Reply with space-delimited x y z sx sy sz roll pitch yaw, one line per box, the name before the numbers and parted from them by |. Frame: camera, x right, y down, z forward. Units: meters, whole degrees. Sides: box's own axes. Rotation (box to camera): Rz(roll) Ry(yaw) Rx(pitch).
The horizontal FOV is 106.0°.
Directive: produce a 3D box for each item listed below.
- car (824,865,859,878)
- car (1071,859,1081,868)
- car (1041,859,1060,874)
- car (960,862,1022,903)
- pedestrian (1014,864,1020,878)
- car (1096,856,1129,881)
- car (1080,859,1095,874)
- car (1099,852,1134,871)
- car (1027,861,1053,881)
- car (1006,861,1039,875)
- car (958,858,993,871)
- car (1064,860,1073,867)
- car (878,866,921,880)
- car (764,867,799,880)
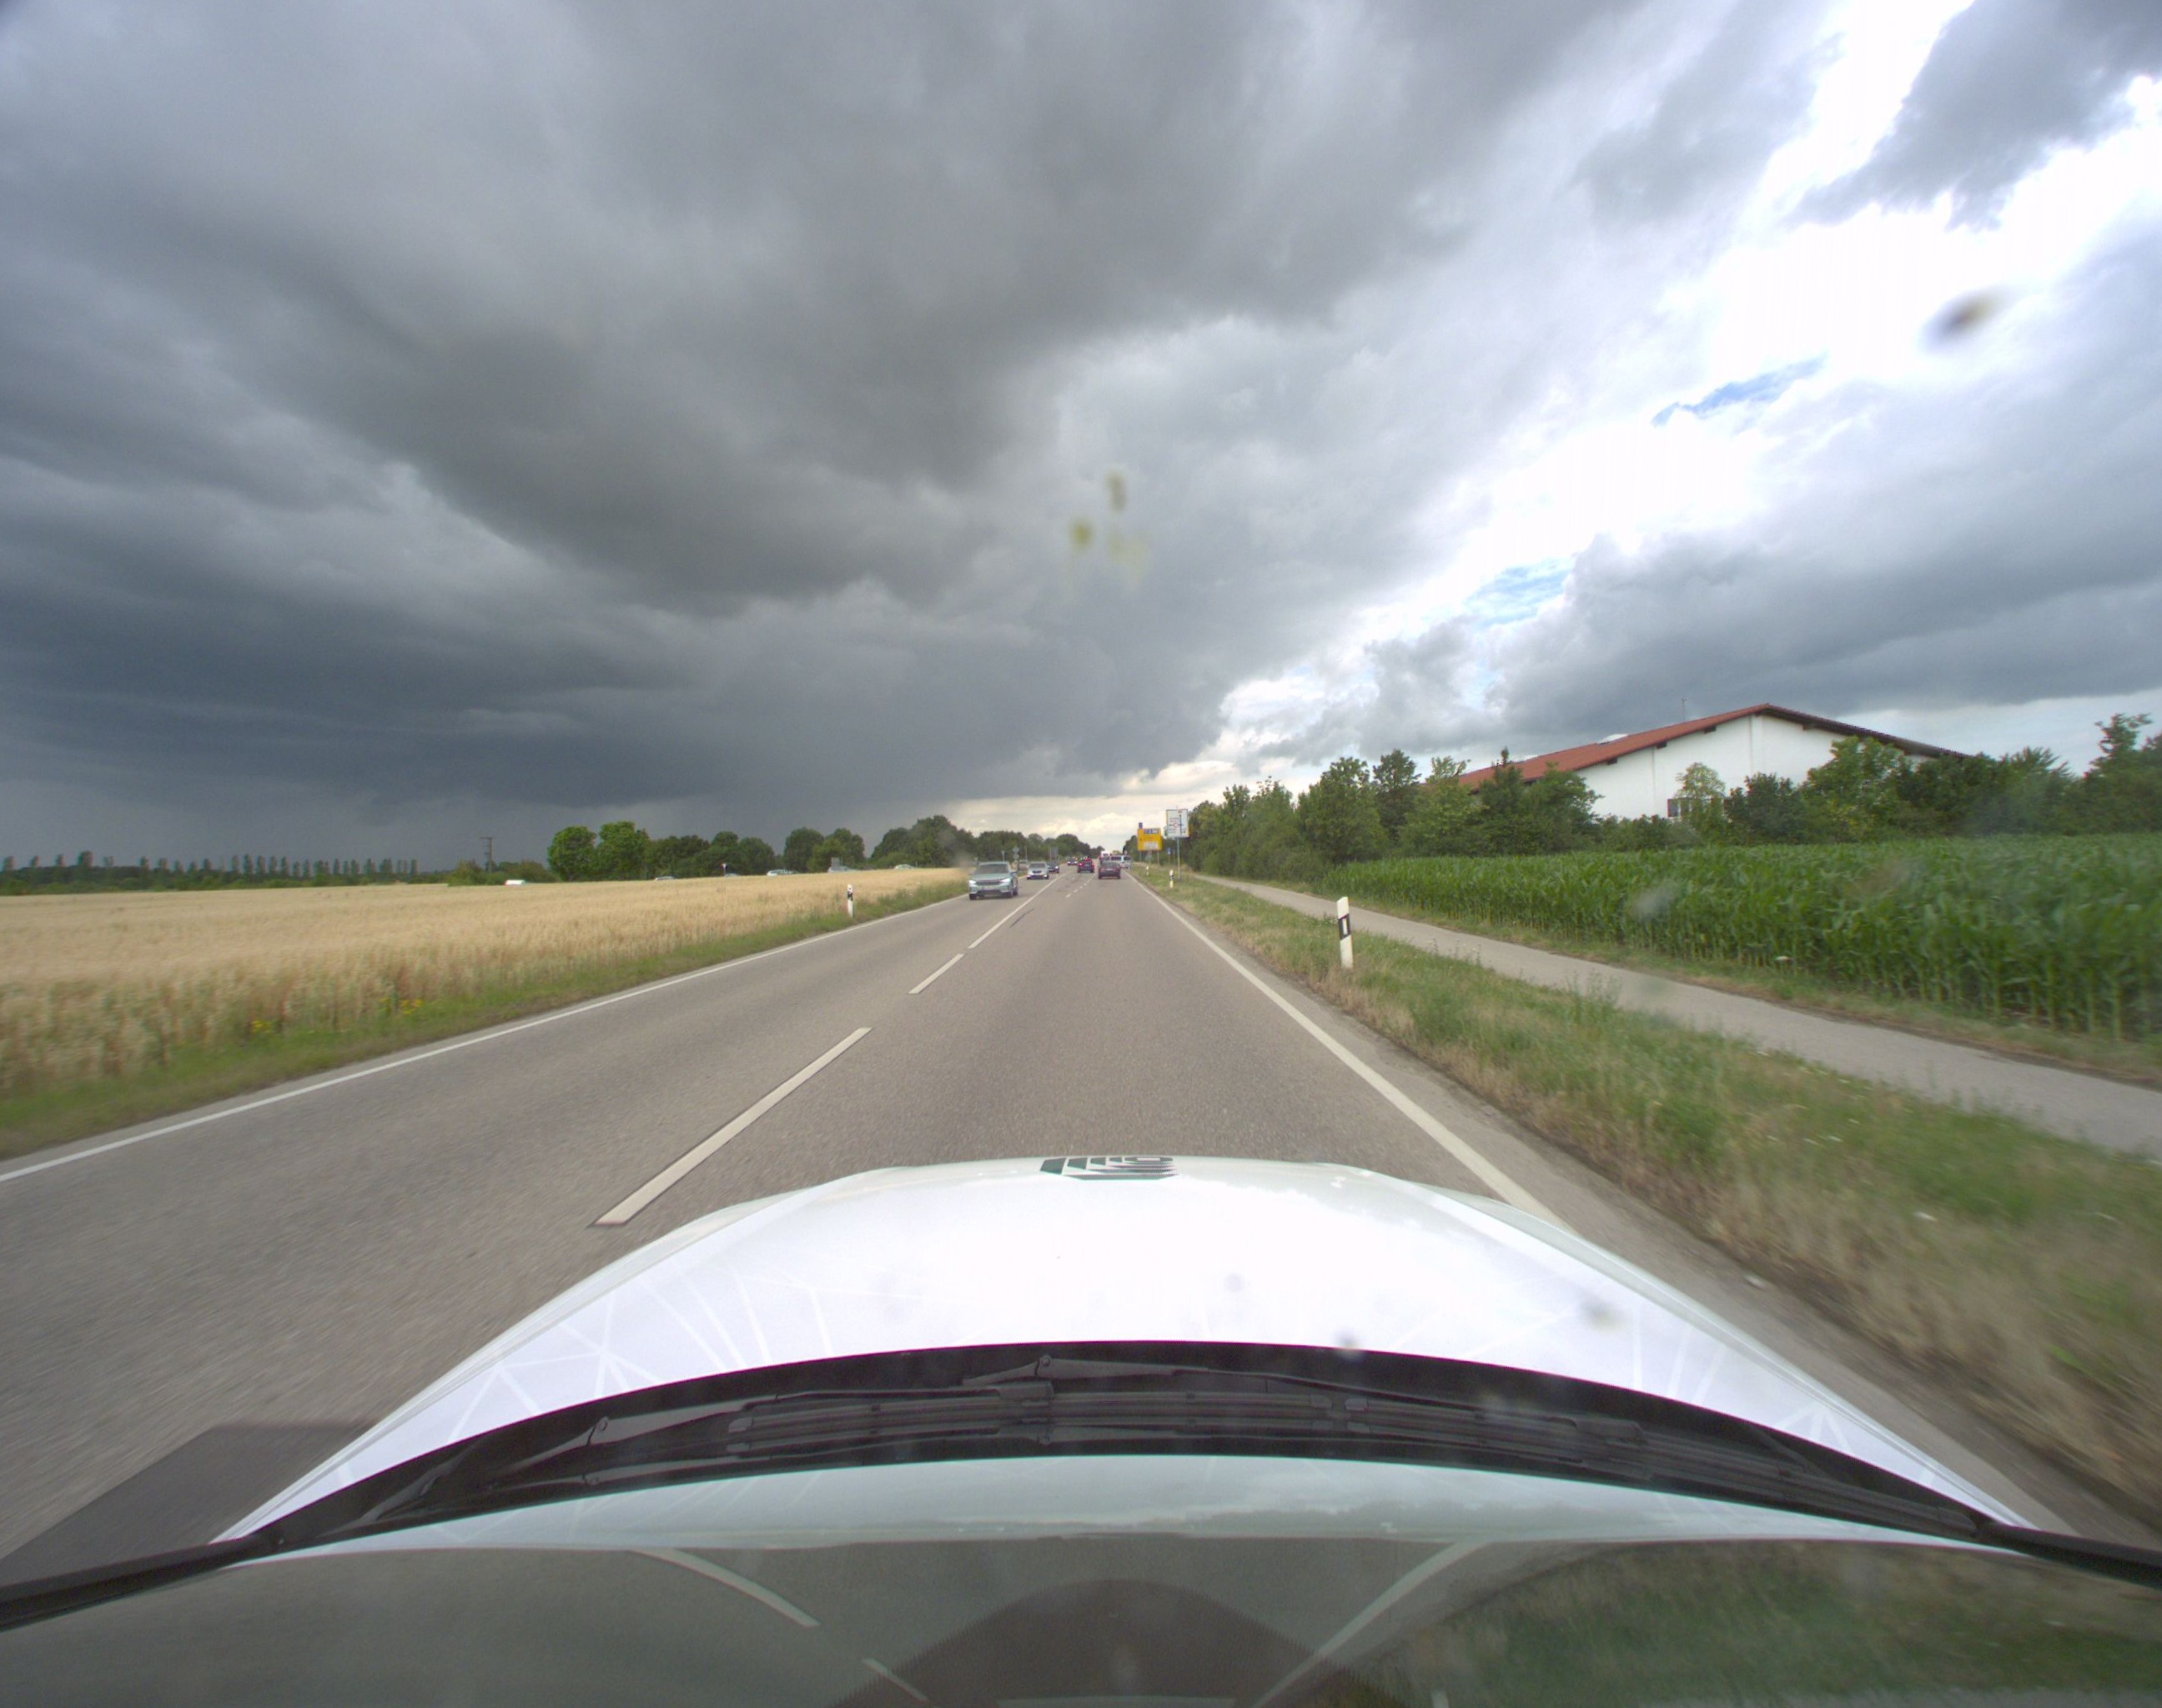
car | -32.624 2.397 111.105 4.052 1.649 1.869 -2 0 5
car | -0.903 1.764 153.586 1.640 1.590 4.002 -2 0 2
car | -3.465 1.428 92.204 1.847 1.630 4.001 -2 0 2
car | -3.933 1.219 36.525 2.057 1.580 4.766 -3 0 1
pedestrian | -7.354 1.903 93.615 0.363 1.575 0.708 -3 -1 37
car | 2.554 1.158 67.234 2.365 1.880 4.476 -4 0 -1
car | 0.761 1.439 93.655 1.566 1.701 4.001 -2 -1 2
car | 5.131 1.065 117.294 4.823 2.452 2.004 -2 -1 -2
car | -3.470 1.406 68.956 1.760 1.601 4.932 -2 0 2
car | -7.833 1.852 109.495 4.403 1.649 1.500 -2 -1 -4
car | -14.088 1.386 108.940 4.401 1.649 1.501 -2 -1 -2
car | -2.909 2.268 191.090 1.640 1.590 4.002 -2 0 2
car | -24.694 2.626 110.674 5.282 1.649 1.869 -2 0 5
car | -41.185 2.667 111.909 4.052 1.649 1.869 -2 0 5
